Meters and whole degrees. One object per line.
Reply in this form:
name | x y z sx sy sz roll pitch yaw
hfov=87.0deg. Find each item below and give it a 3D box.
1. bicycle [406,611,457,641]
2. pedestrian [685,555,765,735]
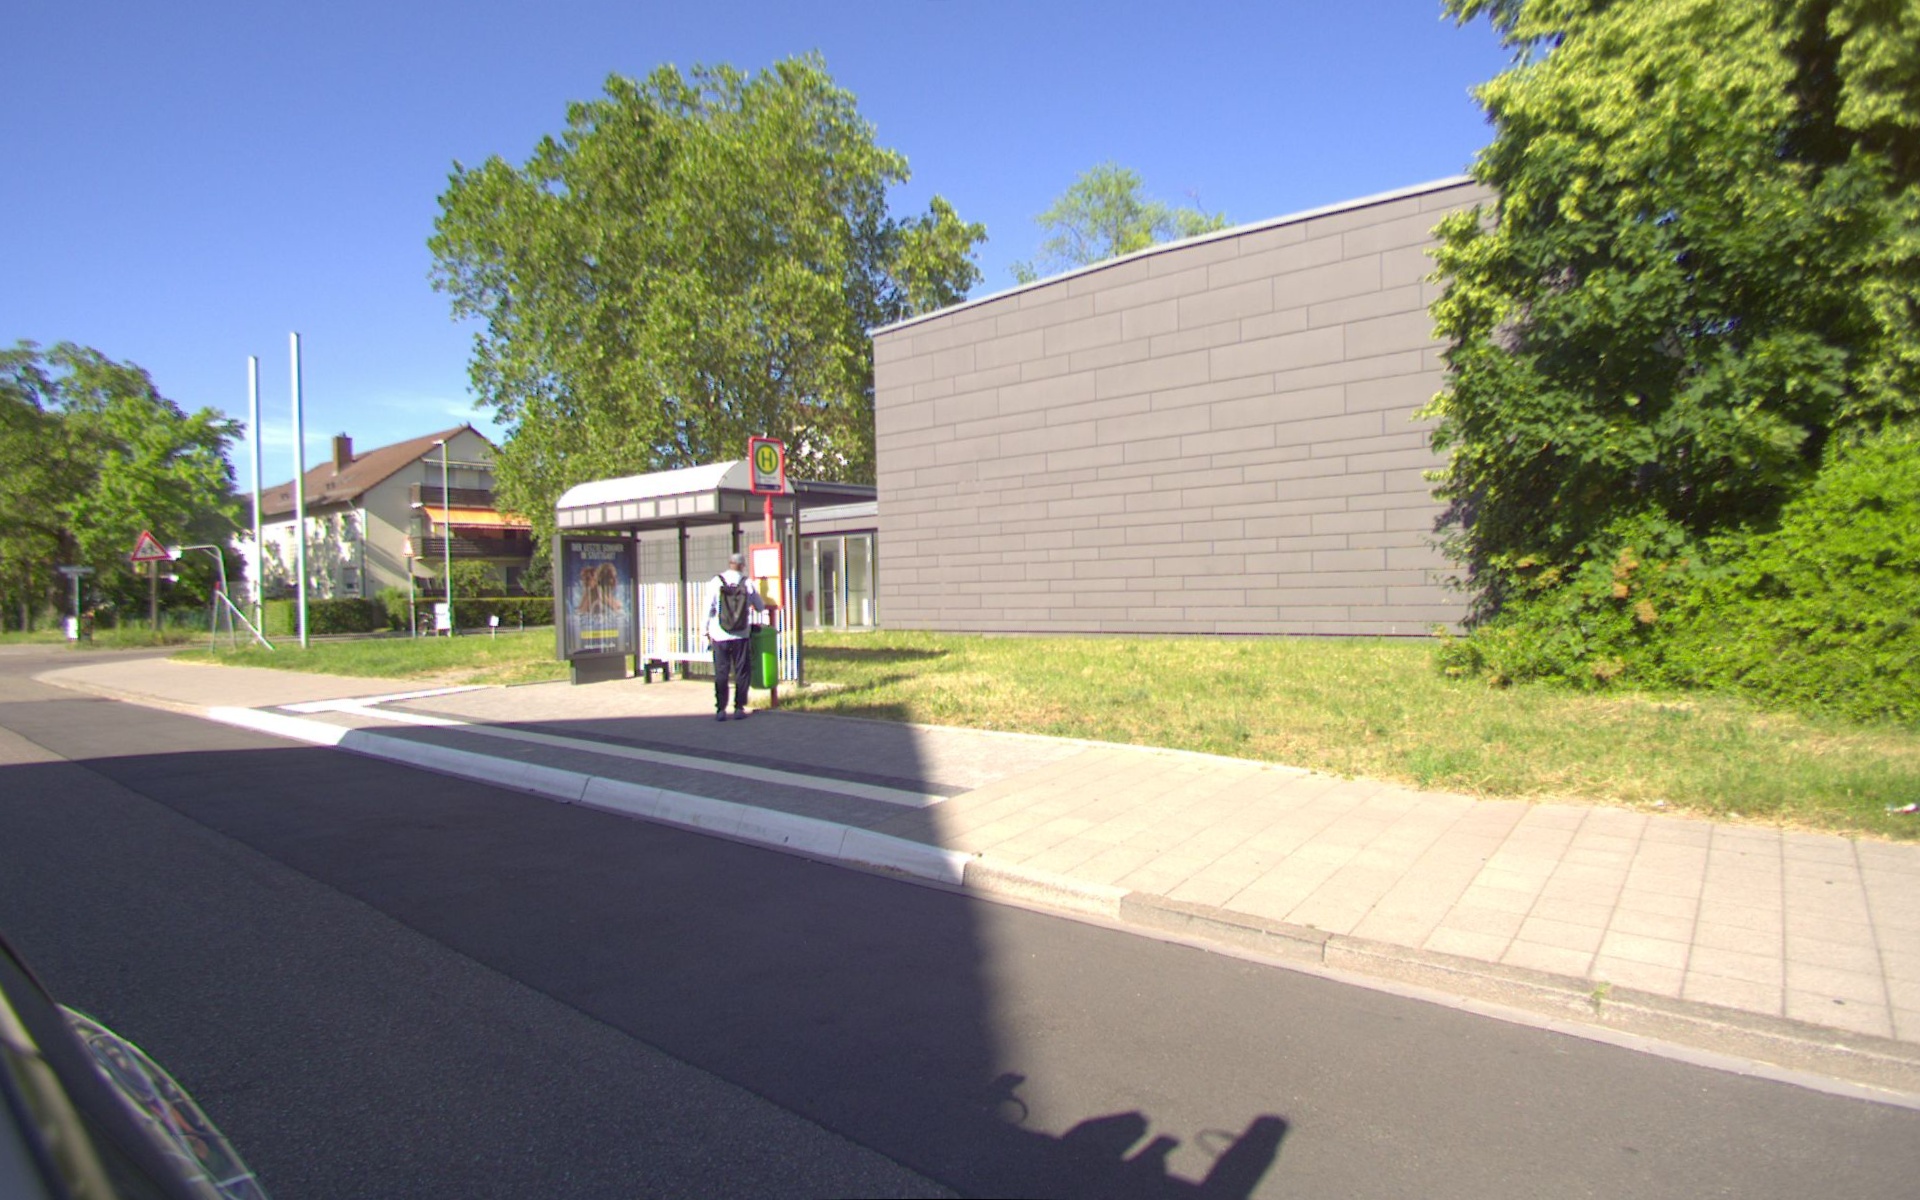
bicycle | -19.204 0.949 36.795 1.574 0.992 0.501 -2 1 -35
pedestrian | -2.494 0.458 10.819 0.706 1.816 0.773 -3 1 -10
